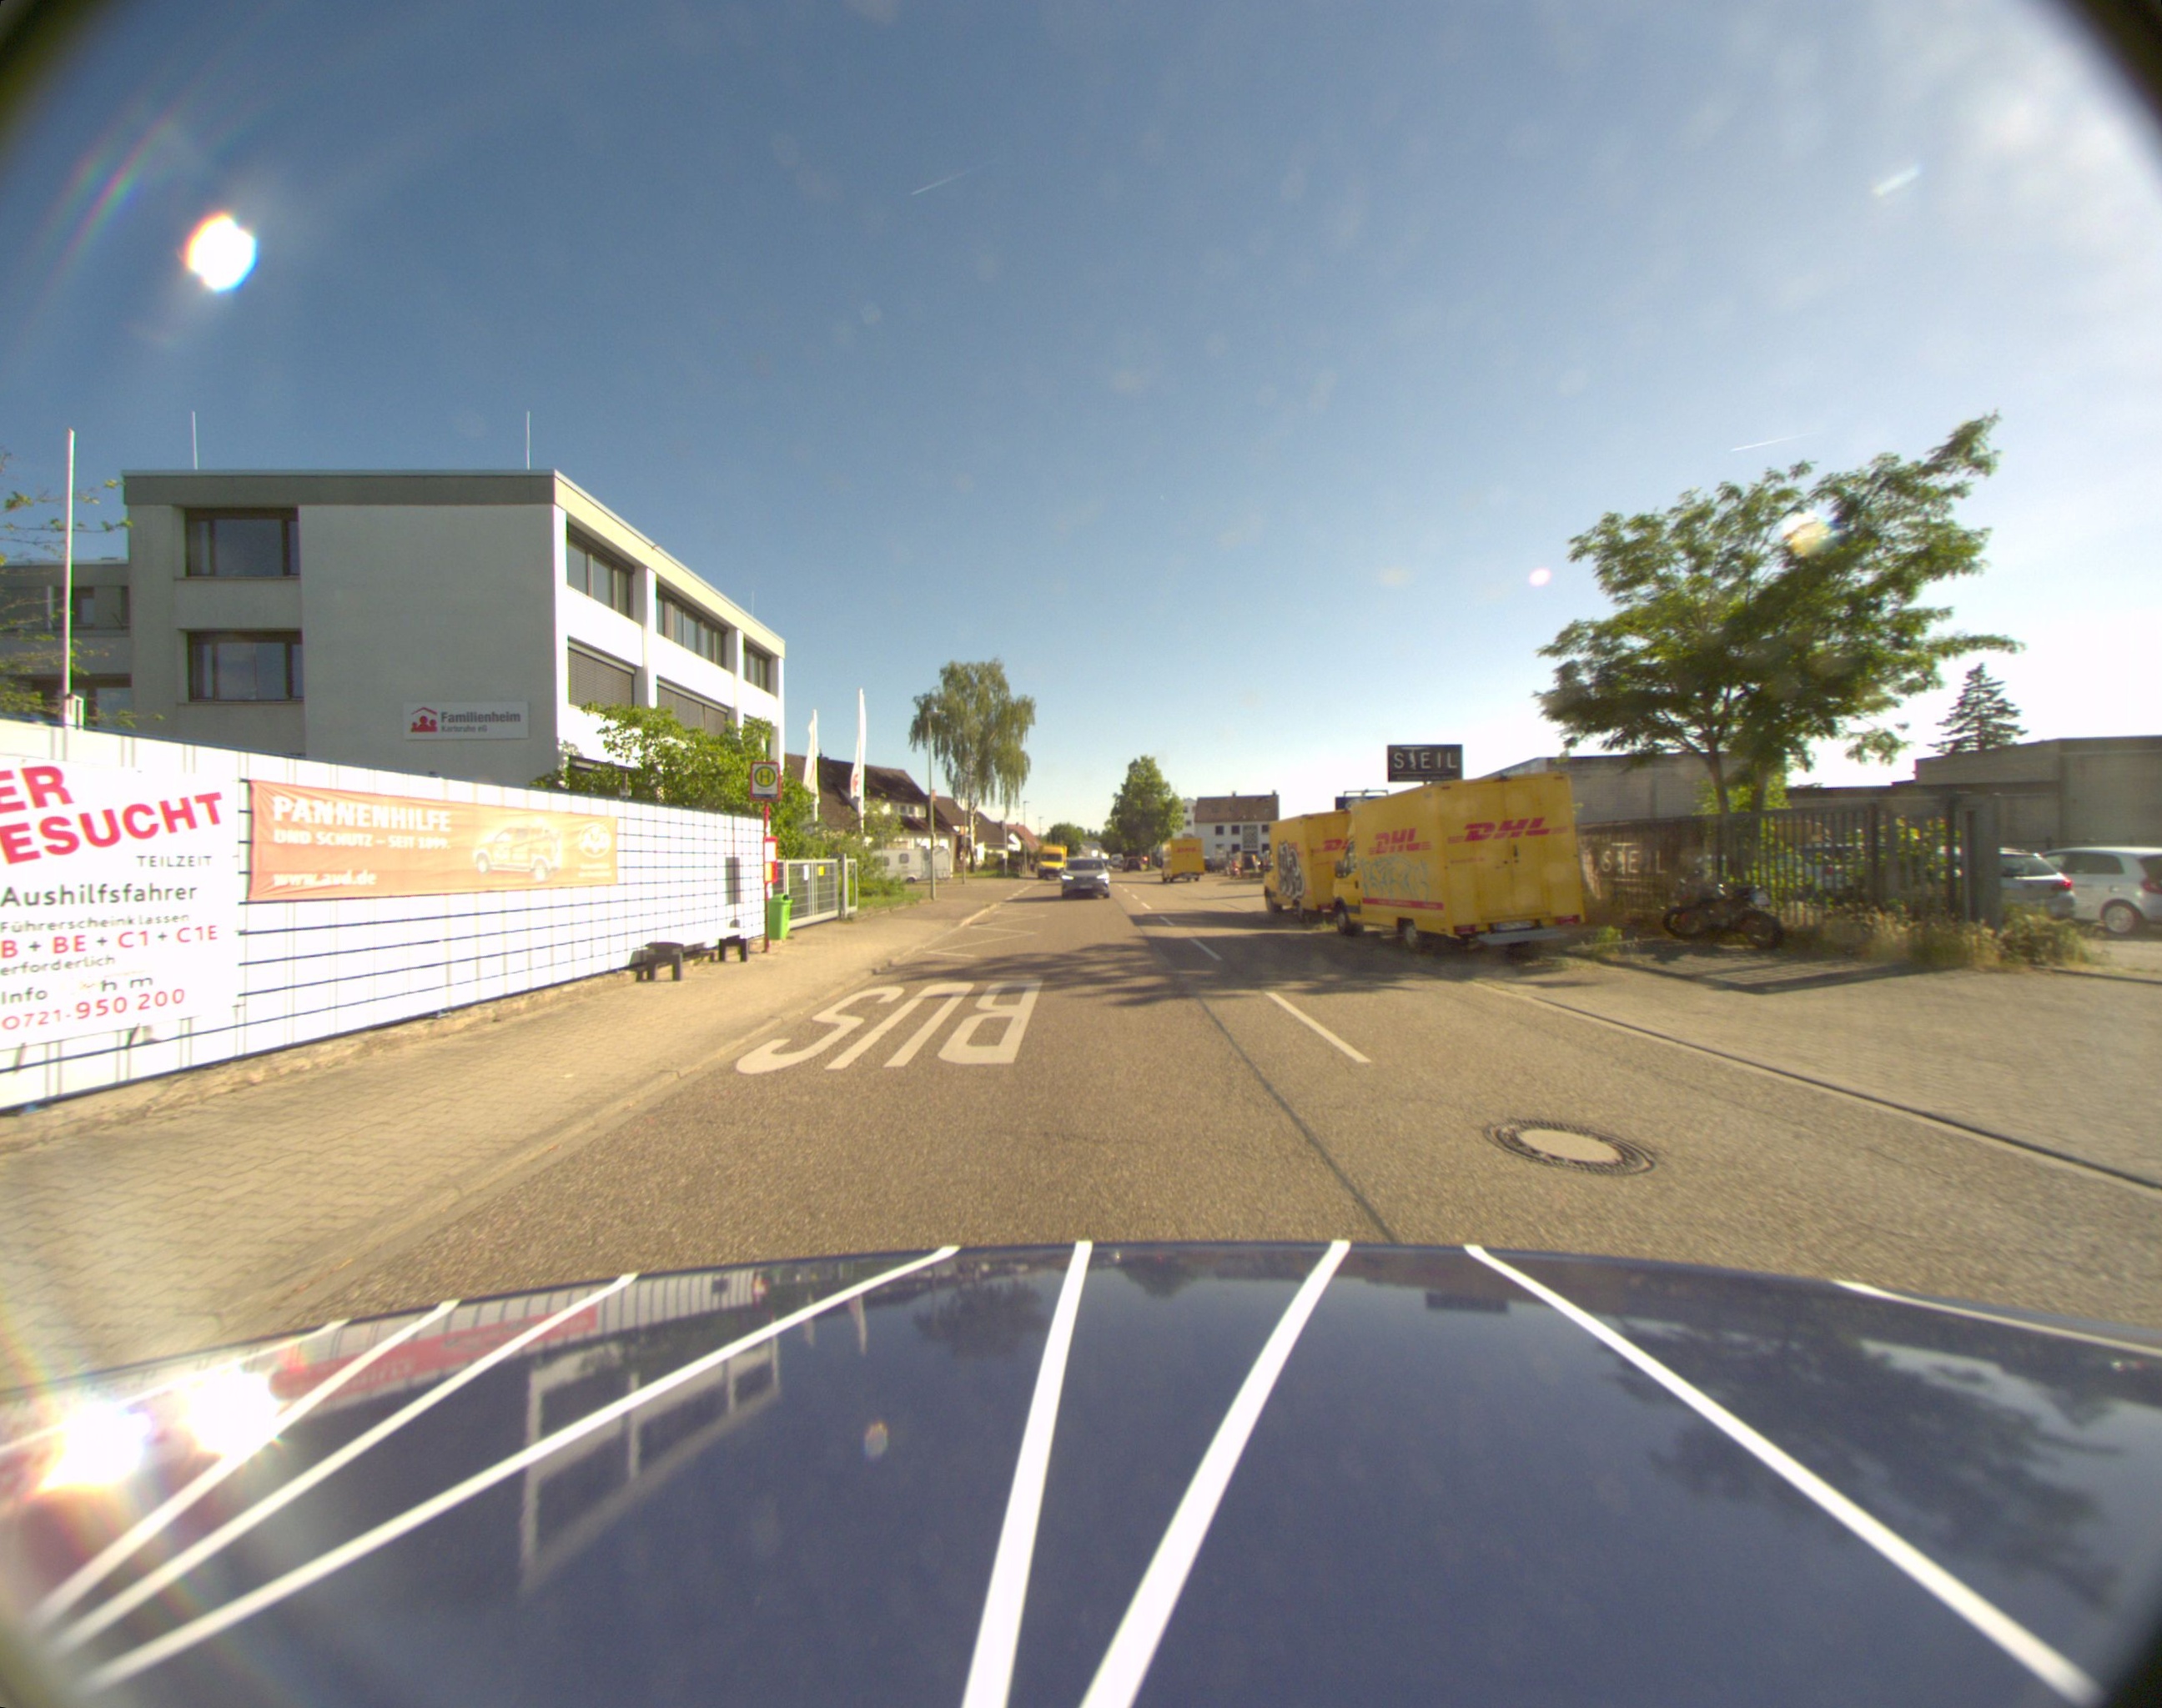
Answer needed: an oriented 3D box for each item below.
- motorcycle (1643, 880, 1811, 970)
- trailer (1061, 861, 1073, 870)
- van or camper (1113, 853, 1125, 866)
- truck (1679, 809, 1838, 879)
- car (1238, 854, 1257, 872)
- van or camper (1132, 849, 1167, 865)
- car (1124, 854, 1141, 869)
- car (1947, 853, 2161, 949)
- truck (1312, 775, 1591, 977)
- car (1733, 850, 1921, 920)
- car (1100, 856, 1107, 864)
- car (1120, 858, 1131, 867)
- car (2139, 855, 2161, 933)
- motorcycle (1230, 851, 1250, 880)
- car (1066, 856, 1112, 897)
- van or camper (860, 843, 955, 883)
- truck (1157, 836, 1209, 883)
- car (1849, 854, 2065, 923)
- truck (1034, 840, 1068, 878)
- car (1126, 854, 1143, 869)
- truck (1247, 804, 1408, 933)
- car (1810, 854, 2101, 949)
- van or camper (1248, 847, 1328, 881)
[{"bbox_3d":[9.876,1.035,11.750,0.757,1.174,2.176,-1,0,1],"label":"motorcycle"},{"bbox_3d":[-1.930,1.547,103.656,1.631,1.210,3.144,-1,0,-2],"label":"trailer"},{"bbox_3d":[7.351,1.082,147.163,2.127,2.474,5.558,1,-2,3],"label":"van or camper"},{"bbox_3d":[29.984,-0.410,33.823,4.710,2.920,2.415,-1,0,11],"label":"truck"},{"bbox_3d":[16.407,0.907,75.080,1.779,1.737,4.169,-1,-1,12],"label":"car"},{"bbox_3d":[10.415,0.468,115.202,4.900,2.307,2.245,-1,1,12],"label":"van or camper"},{"bbox_3d":[6.645,0.974,98.165,1.808,1.742,4.342,-3,0,1],"label":"car"},{"bbox_3d":[19.204,0.776,14.386,1.696,1.569,4.048,-1,0,14],"label":"car"},{"bbox_3d":[6.446,0.335,14.429,2.198,2.885,6.439,-3,0,2],"label":"truck"},{"bbox_3d":[19.266,0.733,19.882,1.696,1.651,4.048,-1,0,14],"label":"car"},{"bbox_3d":[6.047,1.573,203.492,1.899,2.019,4.818,1,0,1],"label":"car"},{"bbox_3d":[7.350,1.355,125.117,1.691,1.427,4.209,-3,0,2],"label":"car"},{"bbox_3d":[21.692,0.788,13.414,1.653,1.526,3.879,-1,0,21],"label":"car"},{"bbox_3d":[10.949,0.805,52.365,0.783,1.862,3.042,-4,-1,4],"label":"motorcycle"},{"bbox_3d":[0.316,0.900,31.498,1.777,1.624,3.704,0,-1,0],"label":"car"},{"bbox_3d":[-11.642,0.586,50.948,5.840,2.526,2.285,-1,0,-25],"label":"van or camper"},{"bbox_3d":[6.977,0.349,52.789,2.409,2.965,7.244,-2,0,-1],"label":"truck"},{"bbox_3d":[22.127,0.803,19.449,1.696,1.569,3.922,-1,0,14],"label":"car"},{"bbox_3d":[-2.383,0.370,62.942,2.409,2.919,7.016,1,0,0],"label":"truck"},{"bbox_3d":[6.453,0.892,91.958,1.678,1.761,4.555,-3,0,0],"label":"car"},{"bbox_3d":[6.532,0.348,21.190,2.409,2.965,6.373,-2,0,1],"label":"truck"},{"bbox_3d":[16.588,0.800,14.772,1.696,1.569,4.048,-1,0,14],"label":"car"},{"bbox_3d":[12.907,0.612,47.723,4.552,2.002,2.252,-1,0,7],"label":"van or camper"}]
